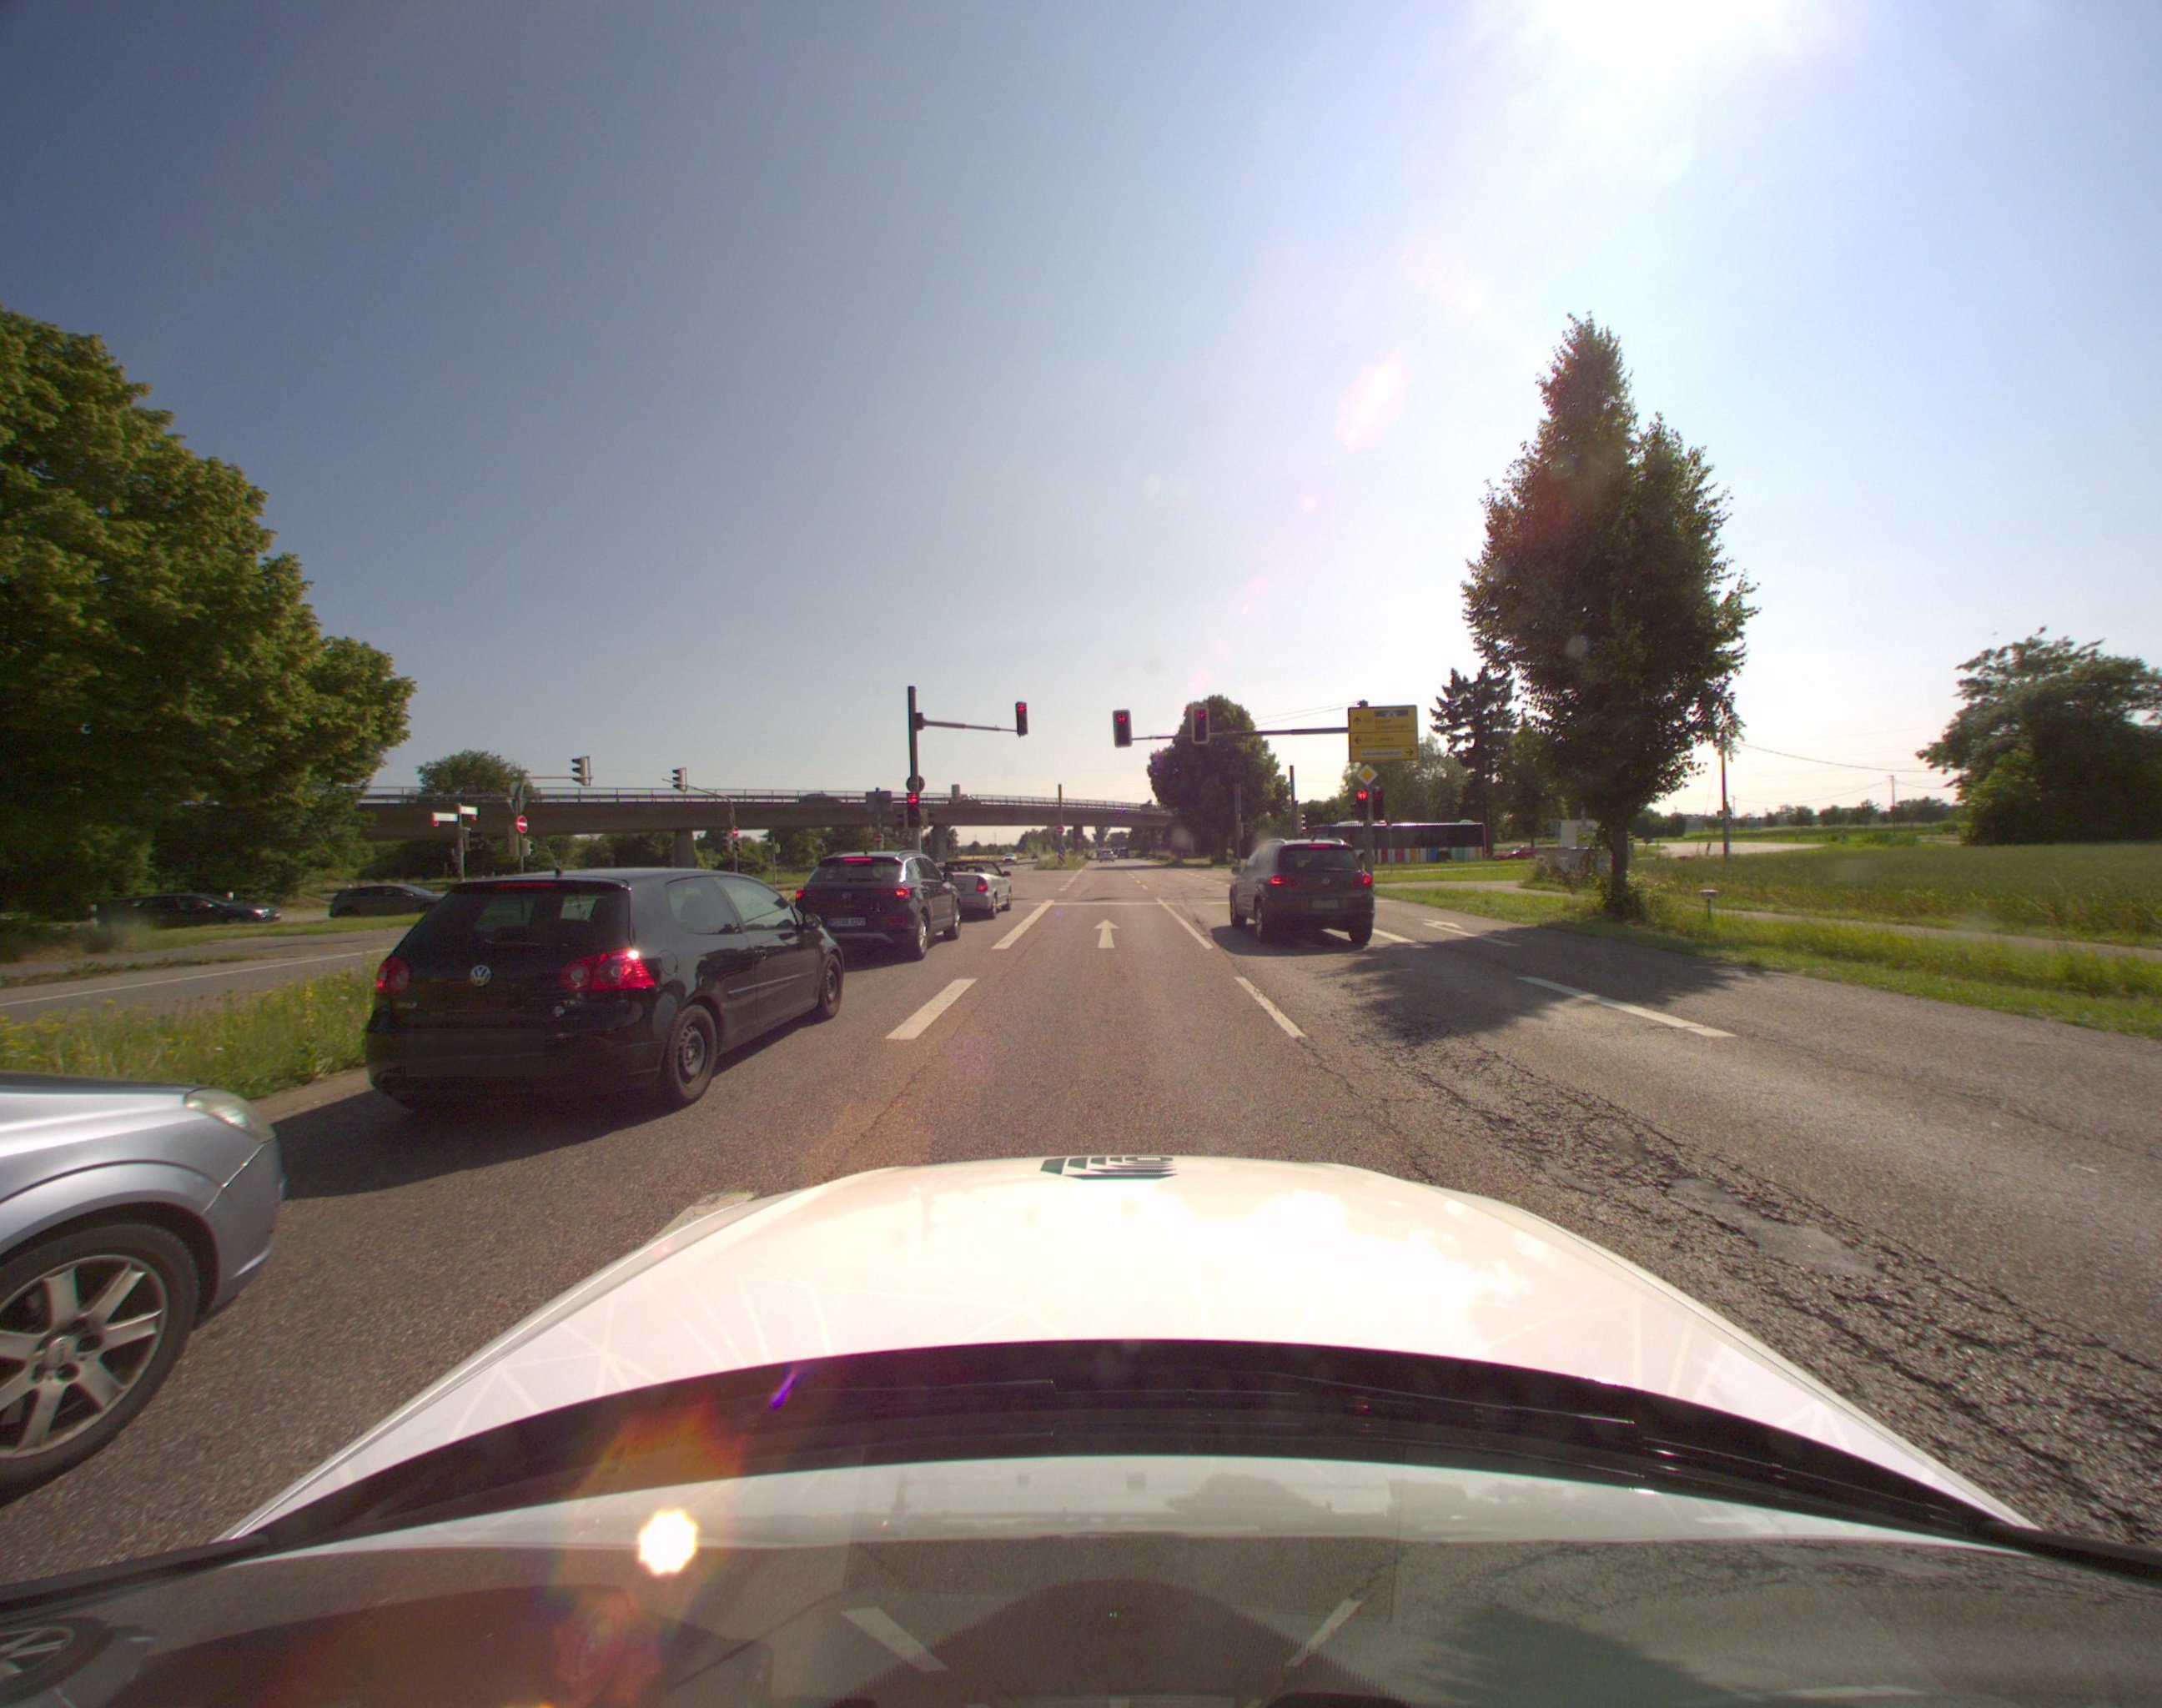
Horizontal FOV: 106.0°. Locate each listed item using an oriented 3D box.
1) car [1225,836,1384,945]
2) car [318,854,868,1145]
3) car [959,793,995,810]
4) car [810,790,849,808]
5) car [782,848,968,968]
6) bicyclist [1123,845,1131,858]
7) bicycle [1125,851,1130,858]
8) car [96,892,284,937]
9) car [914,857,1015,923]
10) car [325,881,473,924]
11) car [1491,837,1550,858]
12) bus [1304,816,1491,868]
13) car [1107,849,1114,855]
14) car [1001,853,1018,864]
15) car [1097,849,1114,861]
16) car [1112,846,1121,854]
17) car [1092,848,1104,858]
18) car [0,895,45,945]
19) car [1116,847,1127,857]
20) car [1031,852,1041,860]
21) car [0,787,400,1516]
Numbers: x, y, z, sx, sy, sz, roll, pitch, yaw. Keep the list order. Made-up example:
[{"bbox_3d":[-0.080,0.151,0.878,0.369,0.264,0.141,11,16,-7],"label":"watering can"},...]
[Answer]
[{"bbox_3d":[3.744,0.548,14.386,1.749,1.655,4.147,0,0,1],"label":"car"},{"bbox_3d":[-3.119,0.769,6.349,1.660,1.474,4.100,-1,0,2],"label":"car"},{"bbox_3d":[-11.691,-5.896,91.684,1.974,1.486,4.025,0,-1,32],"label":"car"},{"bbox_3d":[-23.331,-5.081,75.568,1.307,1.486,3.218,-2,0,41],"label":"car"},{"bbox_3d":[-3.020,0.709,12.840,1.722,1.547,4.100,-1,0,2],"label":"car"},{"bbox_3d":[6.755,-0.351,119.533,1.003,1.886,1.328,-2,0,3],"label":"bicyclist"},{"bbox_3d":[6.799,0.099,119.387,0.598,0.983,2.362,-2,0,2],"label":"bicycle"},{"bbox_3d":[-32.924,2.192,30.275,4.364,1.280,1.636,-2,0,-27],"label":"car"},{"bbox_3d":[-2.661,0.779,19.503,1.667,1.335,4.100,-1,0,2],"label":"car"},{"bbox_3d":[-27.524,1.933,33.024,4.125,1.424,1.859,-2,0,-18],"label":"car"},{"bbox_3d":[32.834,-0.466,60.837,4.001,1.398,1.670,-2,0,-20],"label":"car"},{"bbox_3d":[20.900,-0.813,53.843,11.953,2.877,2.928,-2,0,-14],"label":"bus"},{"bbox_3d":[8.569,-0.496,238.392,1.986,1.655,4.002,1,-1,2],"label":"car"},{"bbox_3d":[-10.453,0.634,119.348,1.876,1.515,4.148,-5,0,1],"label":"car"},{"bbox_3d":[2.886,0.103,95.795,1.843,1.461,4.003,0,0,3],"label":"car"},{"bbox_3d":[7.791,-0.886,179.108,1.986,1.631,4.001,1,-1,1],"label":"car"},{"bbox_3d":[2.884,-0.169,138.737,1.866,1.492,4.003,-1,0,3],"label":"car"},{"bbox_3d":[-37.904,2.295,26.782,4.372,1.595,1.633,-2,0,-34],"label":"car"},{"bbox_3d":[7.134,-0.342,143.258,1.866,1.640,4.003,0,0,3],"label":"car"},{"bbox_3d":[-8.979,0.436,162.978,1.608,1.442,3.778,-4,0,2],"label":"car"},{"bbox_3d":[-3.396,0.701,0.751,1.734,1.672,4.359,-1,1,2],"label":"car"}]
